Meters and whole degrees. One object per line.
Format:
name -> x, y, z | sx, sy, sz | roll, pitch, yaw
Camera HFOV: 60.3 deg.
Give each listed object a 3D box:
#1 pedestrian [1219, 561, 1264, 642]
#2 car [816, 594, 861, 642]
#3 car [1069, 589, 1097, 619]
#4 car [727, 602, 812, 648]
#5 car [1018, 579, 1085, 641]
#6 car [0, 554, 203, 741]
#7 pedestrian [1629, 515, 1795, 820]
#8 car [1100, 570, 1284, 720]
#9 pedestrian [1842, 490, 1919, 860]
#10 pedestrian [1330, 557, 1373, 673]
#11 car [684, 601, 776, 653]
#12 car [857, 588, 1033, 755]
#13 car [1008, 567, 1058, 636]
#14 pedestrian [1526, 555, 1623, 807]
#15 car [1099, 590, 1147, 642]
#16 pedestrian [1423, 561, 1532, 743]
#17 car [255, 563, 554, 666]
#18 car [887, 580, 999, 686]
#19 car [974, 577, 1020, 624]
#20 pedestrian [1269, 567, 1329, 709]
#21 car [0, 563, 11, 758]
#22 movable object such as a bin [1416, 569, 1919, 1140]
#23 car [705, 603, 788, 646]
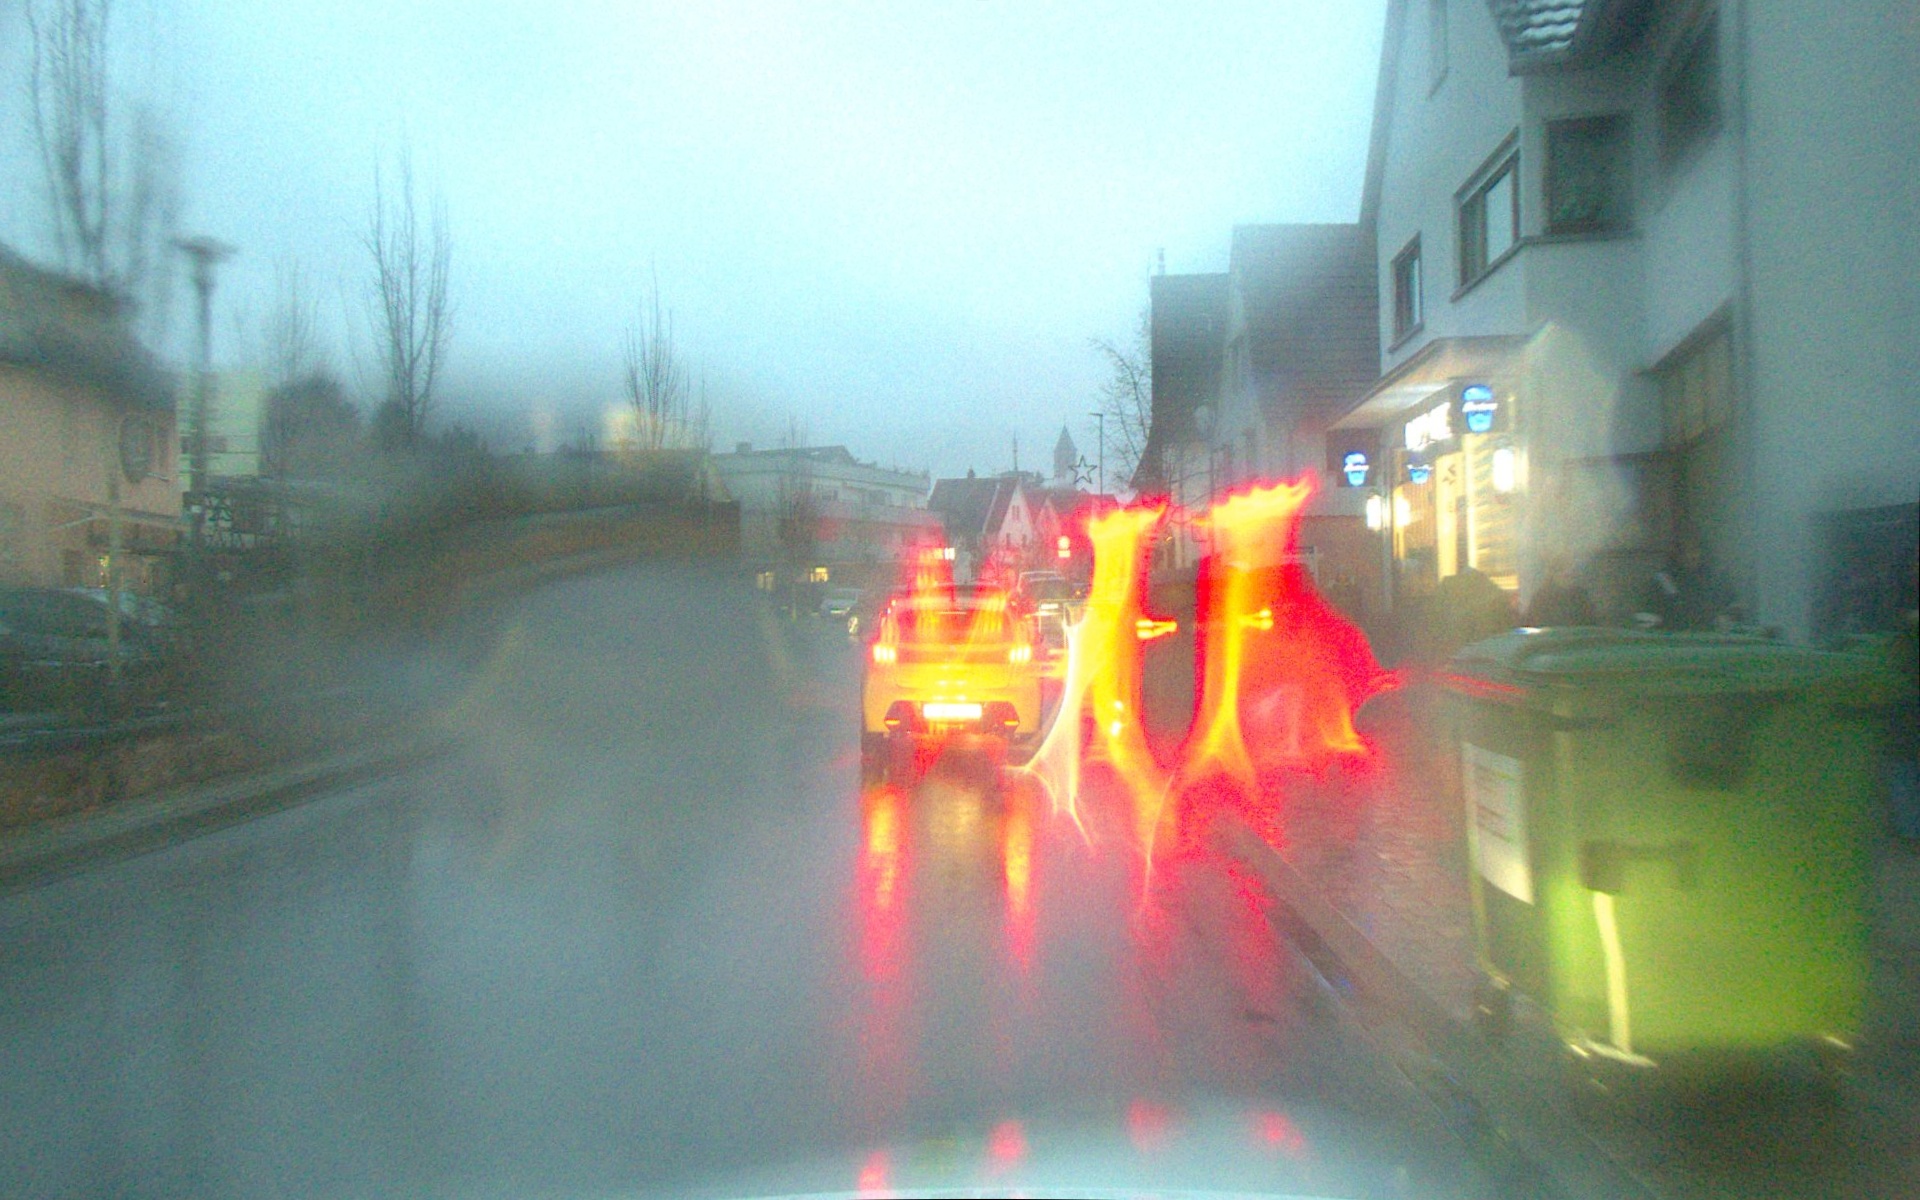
pedestrian -> 5.407, 0.014, 31.815 | 0.607, 1.542, 0.732 | 0, 1, -13
car -> -5.558, 0.875, 76.137 | 1.881, 2.063, 3.973 | 1, -2, -2
car -> 7.215, 0.262, 97.135 | 1.428, 1.650, 3.294 | 1, -2, 2
car -> -9.579, 1.272, 83.077 | 4.312, 2.204, 1.986 | -1, -3, 44
car -> 2.918, 0.336, 53.326 | 1.956, 1.897, 4.083 | 0, -1, 0
car -> -9.420, 0.411, 15.397 | 4.007, 1.636, 1.588 | 0, -1, 3
pedestrian -> 4.535, 0.386, 10.040 | 0.697, 1.745, 1.035 | -1, 0, 13
car -> 2.877, 0.521, 21.384 | 1.700, 1.722, 4.385 | -1, 0, -1
pedestrian -> 5.013, 0.369, 8.574 | 0.517, 1.832, 0.865 | 1, 0, 10
pedestrian -> 6.014, 0.230, 25.427 | 0.605, 1.757, 0.502 | 1, -2, 12
car -> -10.687, 1.268, 76.807 | 4.312, 2.291, 1.986 | -1, -3, 44
car -> -0.132, 0.627, 16.131 | 1.531, 1.437, 3.017 | 1, 0, 0
car -> 2.875, 0.106, 65.738 | 1.831, 2.512, 4.444 | 1, -2, 1
pedestrian -> 4.230, 0.526, 11.429 | 0.469, 1.659, 1.019 | -1, 0, 13
car -> 7.669, 0.779, 78.110 | 1.952, 2.288, 4.000 | 1, -2, 2
pedestrian -> 4.865, 0.461, 15.592 | 0.607, 1.655, 0.903 | 0, 1, -13
car -> -9.609, 0.251, 28.919 | 4.532, 1.697, 1.999 | 0, -1, -3
car -> -0.226, 0.522, 28.150 | 1.730, 1.657, 3.587 | 1, 0, 2
car -> 1.665, 0.051, 75.667 | 1.953, 2.049, 3.999 | 0, -1, -1
pedestrian -> 4.246, 0.472, 20.746 | 0.561, 1.729, 0.653 | -2, -1, 1
car -> -9.544, 0.462, 12.585 | 3.713, 1.549, 1.716 | 0, -1, 6
movable object such as a bin -> 2.161, 0.662, 5.067 | 1.105, 1.445, 1.418 | -3, 1, 2
car -> -10.363, 1.204, 80.228 | 4.098, 2.011, 1.810 | -1, -3, 44
